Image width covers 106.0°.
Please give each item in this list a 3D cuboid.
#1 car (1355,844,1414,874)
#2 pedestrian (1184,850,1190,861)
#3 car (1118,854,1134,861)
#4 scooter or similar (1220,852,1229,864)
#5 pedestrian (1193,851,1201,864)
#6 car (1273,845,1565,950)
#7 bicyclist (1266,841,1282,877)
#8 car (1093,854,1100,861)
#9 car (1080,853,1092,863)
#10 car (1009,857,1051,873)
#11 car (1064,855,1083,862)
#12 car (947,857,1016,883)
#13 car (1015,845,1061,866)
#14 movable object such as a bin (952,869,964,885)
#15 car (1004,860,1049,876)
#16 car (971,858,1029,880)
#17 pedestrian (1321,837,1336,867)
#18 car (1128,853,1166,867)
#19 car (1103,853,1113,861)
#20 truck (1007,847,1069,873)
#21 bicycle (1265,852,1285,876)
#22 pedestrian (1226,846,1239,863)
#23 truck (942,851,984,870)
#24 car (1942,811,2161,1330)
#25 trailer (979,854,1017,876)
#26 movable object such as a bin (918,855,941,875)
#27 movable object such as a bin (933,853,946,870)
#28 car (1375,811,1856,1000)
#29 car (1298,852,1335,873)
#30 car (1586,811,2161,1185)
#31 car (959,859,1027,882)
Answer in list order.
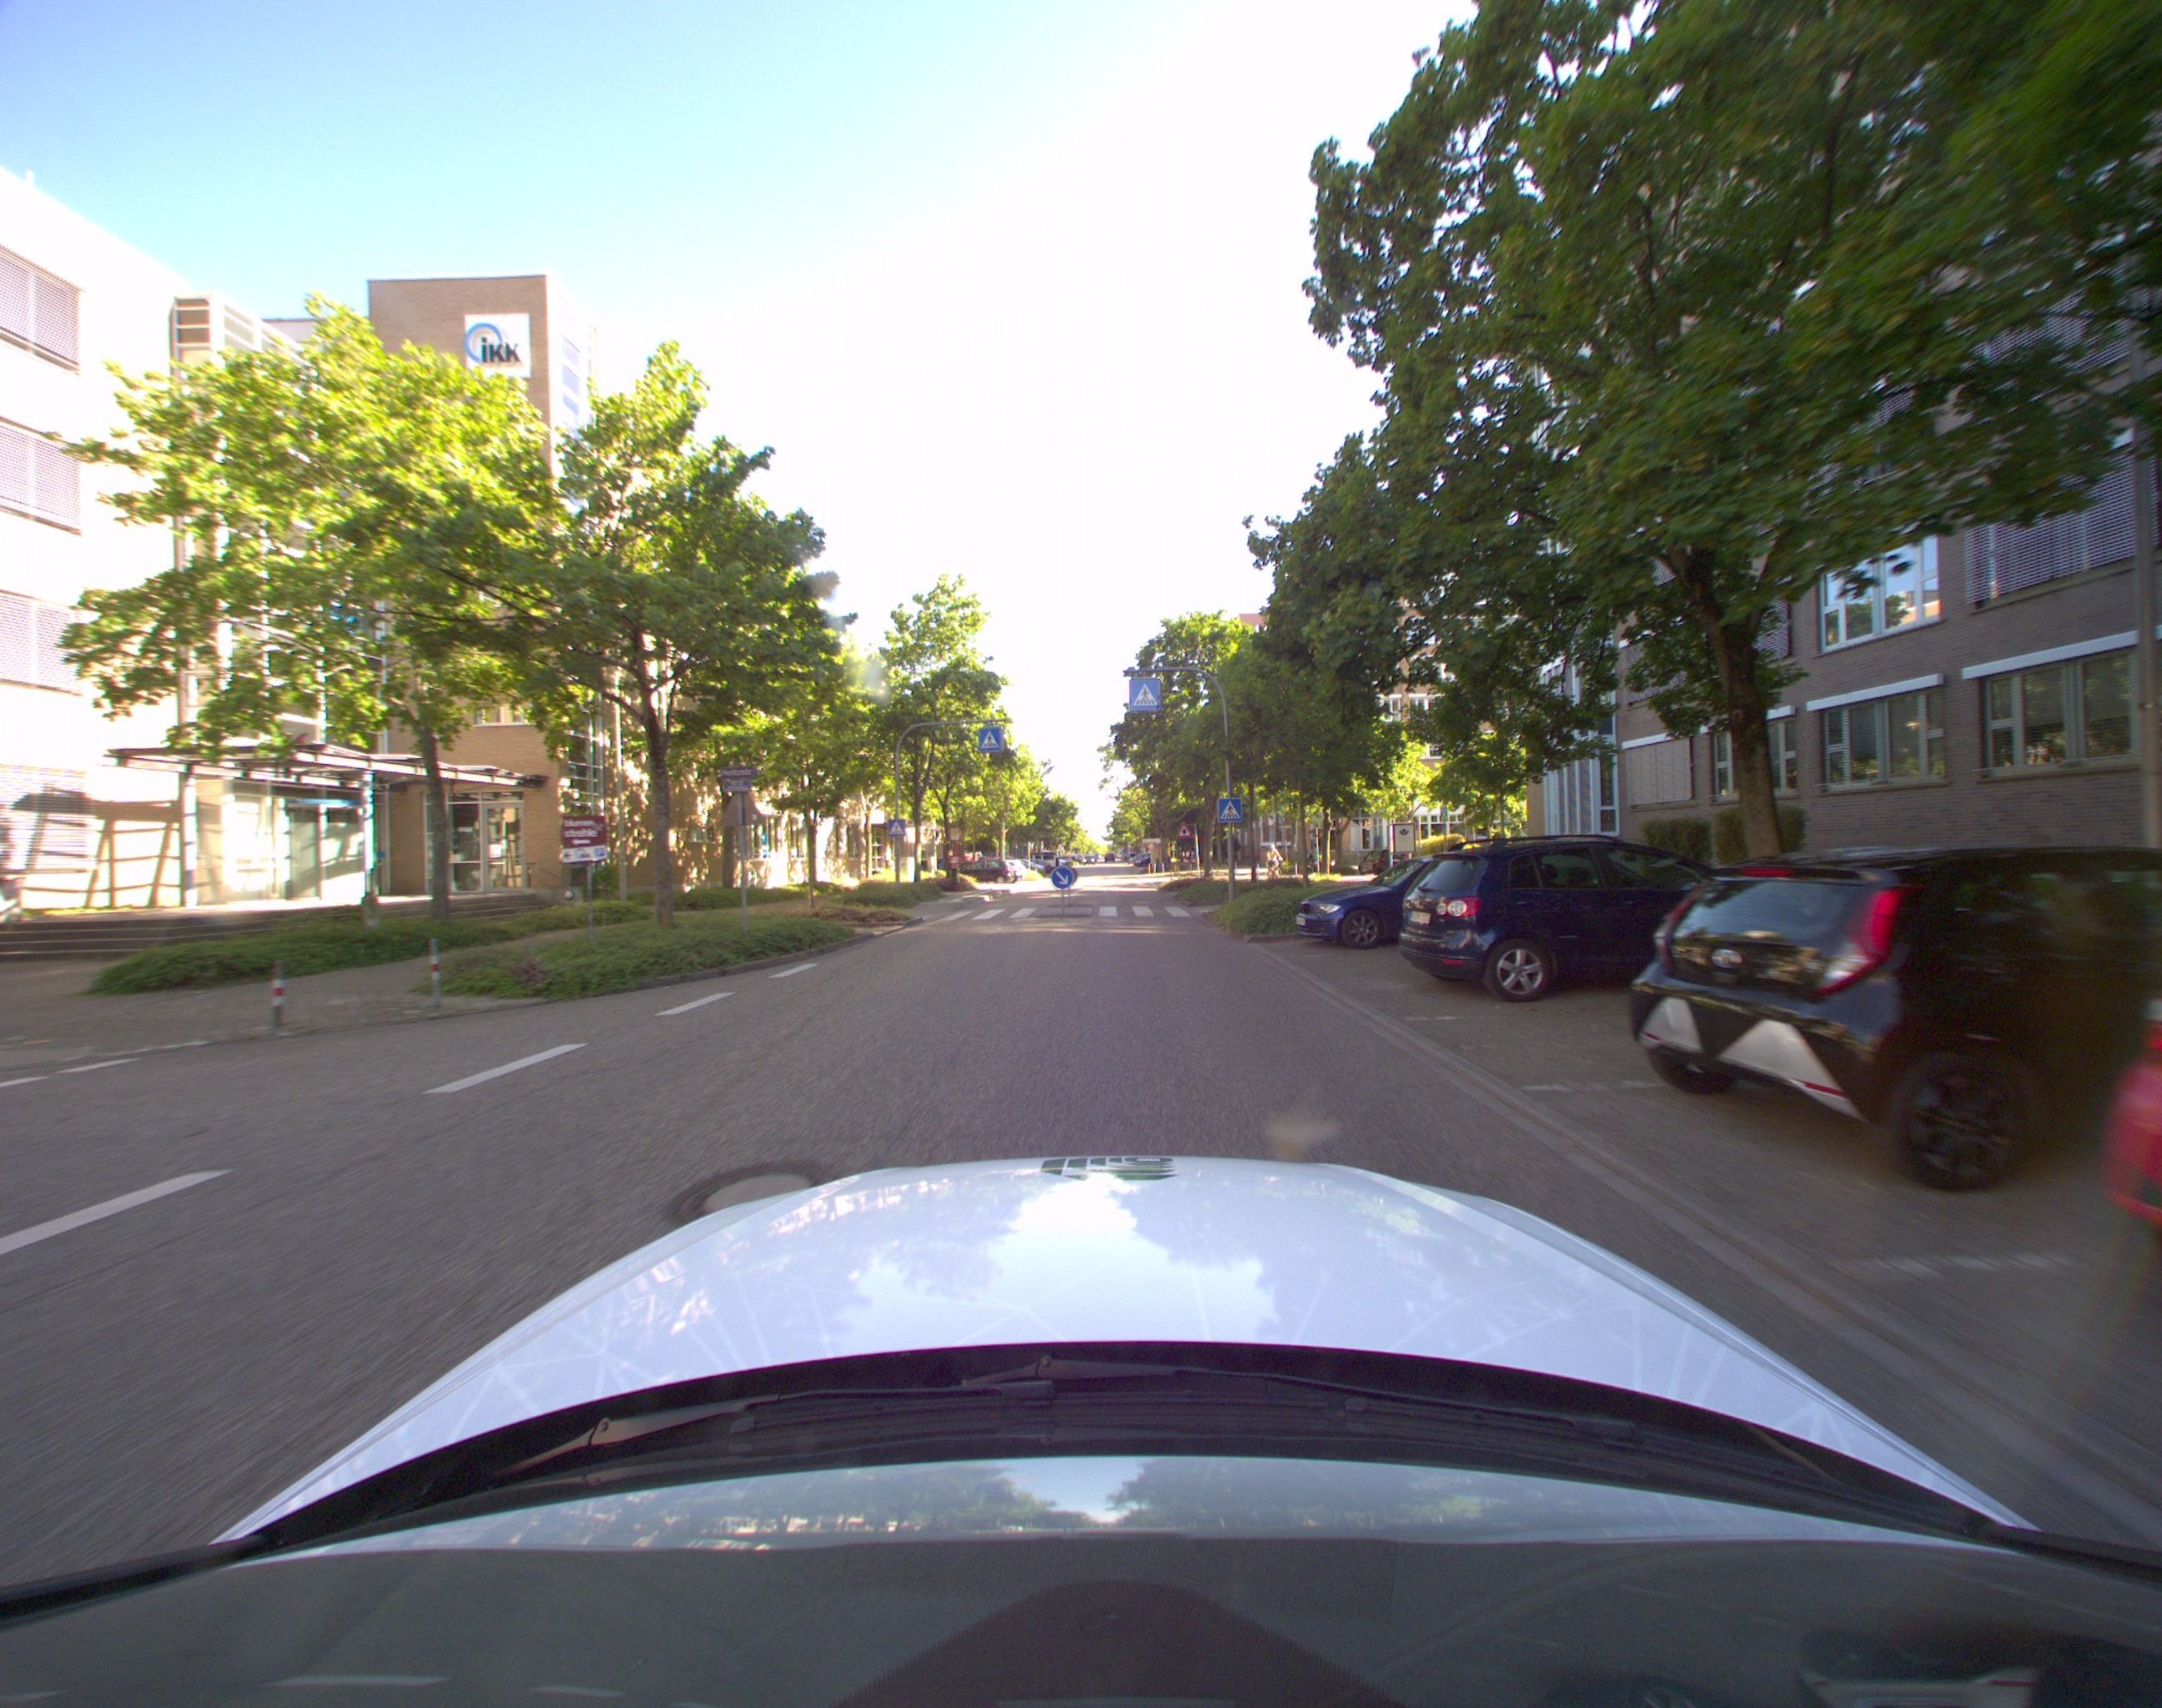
[{"bbox_3d":[17.342,0.336,46.731,1.732,1.566,4.364,-1,-2,-1],"label":"car"},{"bbox_3d":[15.053,0.210,116.189,0.698,1.458,0.715,-2,-1,-1],"label":"pedestrian"},{"bbox_3d":[12.157,0.883,220.281,3.979,1.792,1.997,-1,0,-4],"label":"car"},{"bbox_3d":[15.612,0.429,88.413,0.547,1.325,1.803,0,-1,-3],"label":"scooter or similar"},{"bbox_3d":[15.937,0.500,111.922,0.696,1.711,0.918,-5,0,-9],"label":"pedestrian"},{"bbox_3d":[5.470,0.681,13.490,4.105,1.370,1.653,-4,0,-2],"label":"car"},{"bbox_3d":[9.054,0.240,38.196,0.534,1.636,0.823,-2,0,3],"label":"bicyclist"},{"bbox_3d":[4.140,0.910,217.283,1.886,1.684,4.352,-2,0,0],"label":"car"},{"bbox_3d":[0.741,0.650,128.390,1.773,1.511,4.002,-1,0,2],"label":"car"},{"bbox_3d":[-4.800,1.053,77.169,3.763,1.492,1.834,0,0,3],"label":"car"},{"bbox_3d":[-1.642,0.983,174.912,3.879,1.464,1.858,-1,0,0],"label":"car"},{"bbox_3d":[-6.099,0.971,50.222,3.973,1.570,1.728,1,0,1],"label":"car"},{"bbox_3d":[-4.245,0.184,80.533,4.468,2.052,1.999,0,-1,-1],"label":"car"},{"bbox_3d":[-5.725,1.067,37.904,0.440,0.731,0.408,0,-1,2],"label":"movable object such as a bin"},{"bbox_3d":[-5.001,1.273,74.927,3.816,1.461,1.735,0,0,4],"label":"car"},{"bbox_3d":[-5.546,1.053,56.087,3.741,1.452,1.755,0,0,1],"label":"car"},{"bbox_3d":[13.558,-0.112,44.655,0.537,1.582,0.646,-1,0,-8],"label":"pedestrian"},{"bbox_3d":[8.001,0.716,99.601,4.344,1.597,1.936,-2,0,-5],"label":"car"},{"bbox_3d":[5.292,0.545,158.723,1.926,1.597,4.367,-2,0,1],"label":"car"},{"bbox_3d":[-4.487,0.593,85.733,6.208,2.422,2.188,-2,0,2],"label":"truck"},{"bbox_3d":[9.057,0.465,38.143,0.531,1.078,1.921,-2,0,3],"label":"bicycle"},{"bbox_3d":[15.438,0.066,83.057,0.918,1.711,0.695,-5,0,-12],"label":"pedestrian"},{"bbox_3d":[-18.413,0.971,127.138,6.085,2.704,2.577,-2,0,-1],"label":"truck"},{"bbox_3d":[5.196,0.547,2.099,4.115,1.517,1.835,-2,0,-3],"label":"car"},{"bbox_3d":[-6.426,0.871,63.068,2.715,1.687,1.713,0,0,2],"label":"trailer"},{"bbox_3d":[-13.926,0.995,74.898,1.592,1.796,1.666,-2,0,3],"label":"movable object such as a bin"},{"bbox_3d":[-13.889,0.735,79.848,1.145,1.620,1.437,-2,0,-11],"label":"movable object such as a bin"},{"bbox_3d":[5.588,0.514,8.851,4.115,1.590,1.658,-4,-1,-3],"label":"car"},{"bbox_3d":[17.216,0.610,59.735,1.646,1.462,3.919,-1,0,2],"label":"car"},{"bbox_3d":[5.304,0.555,4.401,4.115,1.461,1.659,-4,-1,-3],"label":"car"},{"bbox_3d":[-5.692,1.062,52.973,4.137,1.402,1.801,0,0,1],"label":"car"}]
